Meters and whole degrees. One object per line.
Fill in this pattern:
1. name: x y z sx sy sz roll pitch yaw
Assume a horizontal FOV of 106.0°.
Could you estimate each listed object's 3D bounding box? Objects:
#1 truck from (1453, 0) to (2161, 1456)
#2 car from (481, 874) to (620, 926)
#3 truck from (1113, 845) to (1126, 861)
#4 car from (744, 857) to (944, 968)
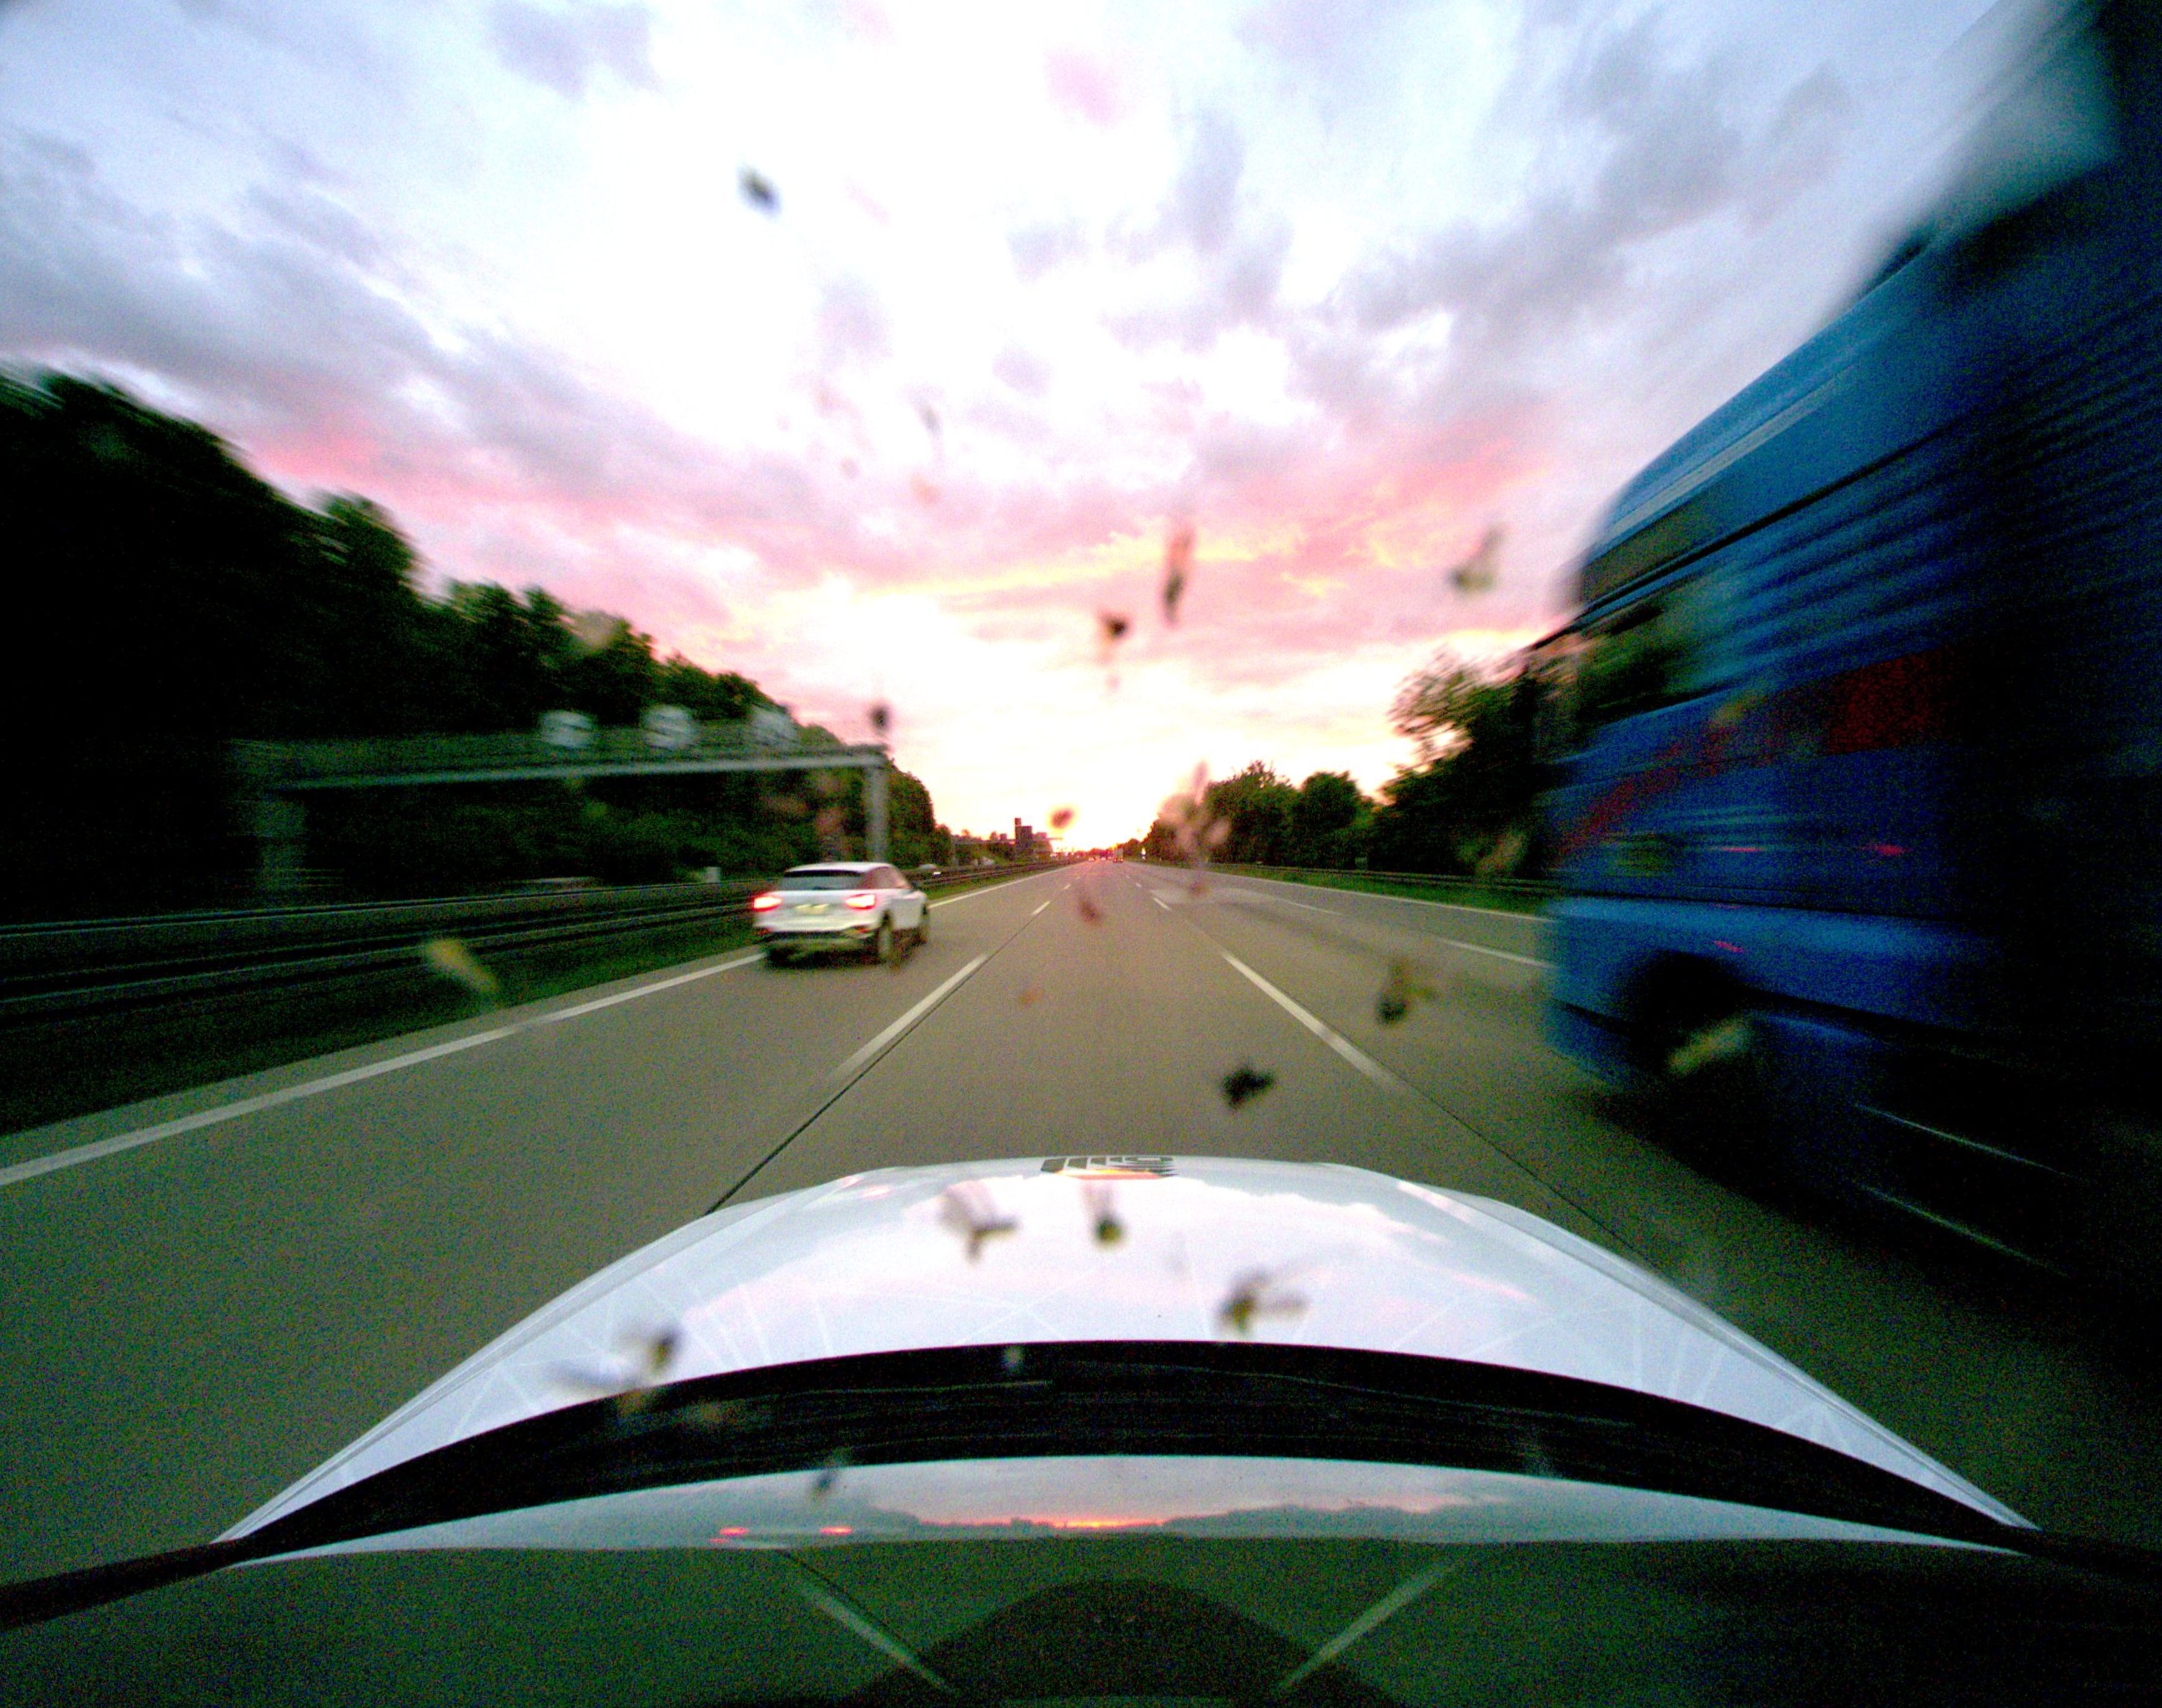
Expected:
1. truck: 3.942 -0.580 2.895 2.726 3.996 5.852 -1 -1 2
2. car: -19.437 1.624 30.139 1.841 1.638 4.778 -1 -1 2
3. truck: 10.416 -0.210 223.118 3.232 4.127 9.790 -2 -1 2
4. car: -3.667 0.812 13.672 1.783 1.501 5.038 0 0 1
